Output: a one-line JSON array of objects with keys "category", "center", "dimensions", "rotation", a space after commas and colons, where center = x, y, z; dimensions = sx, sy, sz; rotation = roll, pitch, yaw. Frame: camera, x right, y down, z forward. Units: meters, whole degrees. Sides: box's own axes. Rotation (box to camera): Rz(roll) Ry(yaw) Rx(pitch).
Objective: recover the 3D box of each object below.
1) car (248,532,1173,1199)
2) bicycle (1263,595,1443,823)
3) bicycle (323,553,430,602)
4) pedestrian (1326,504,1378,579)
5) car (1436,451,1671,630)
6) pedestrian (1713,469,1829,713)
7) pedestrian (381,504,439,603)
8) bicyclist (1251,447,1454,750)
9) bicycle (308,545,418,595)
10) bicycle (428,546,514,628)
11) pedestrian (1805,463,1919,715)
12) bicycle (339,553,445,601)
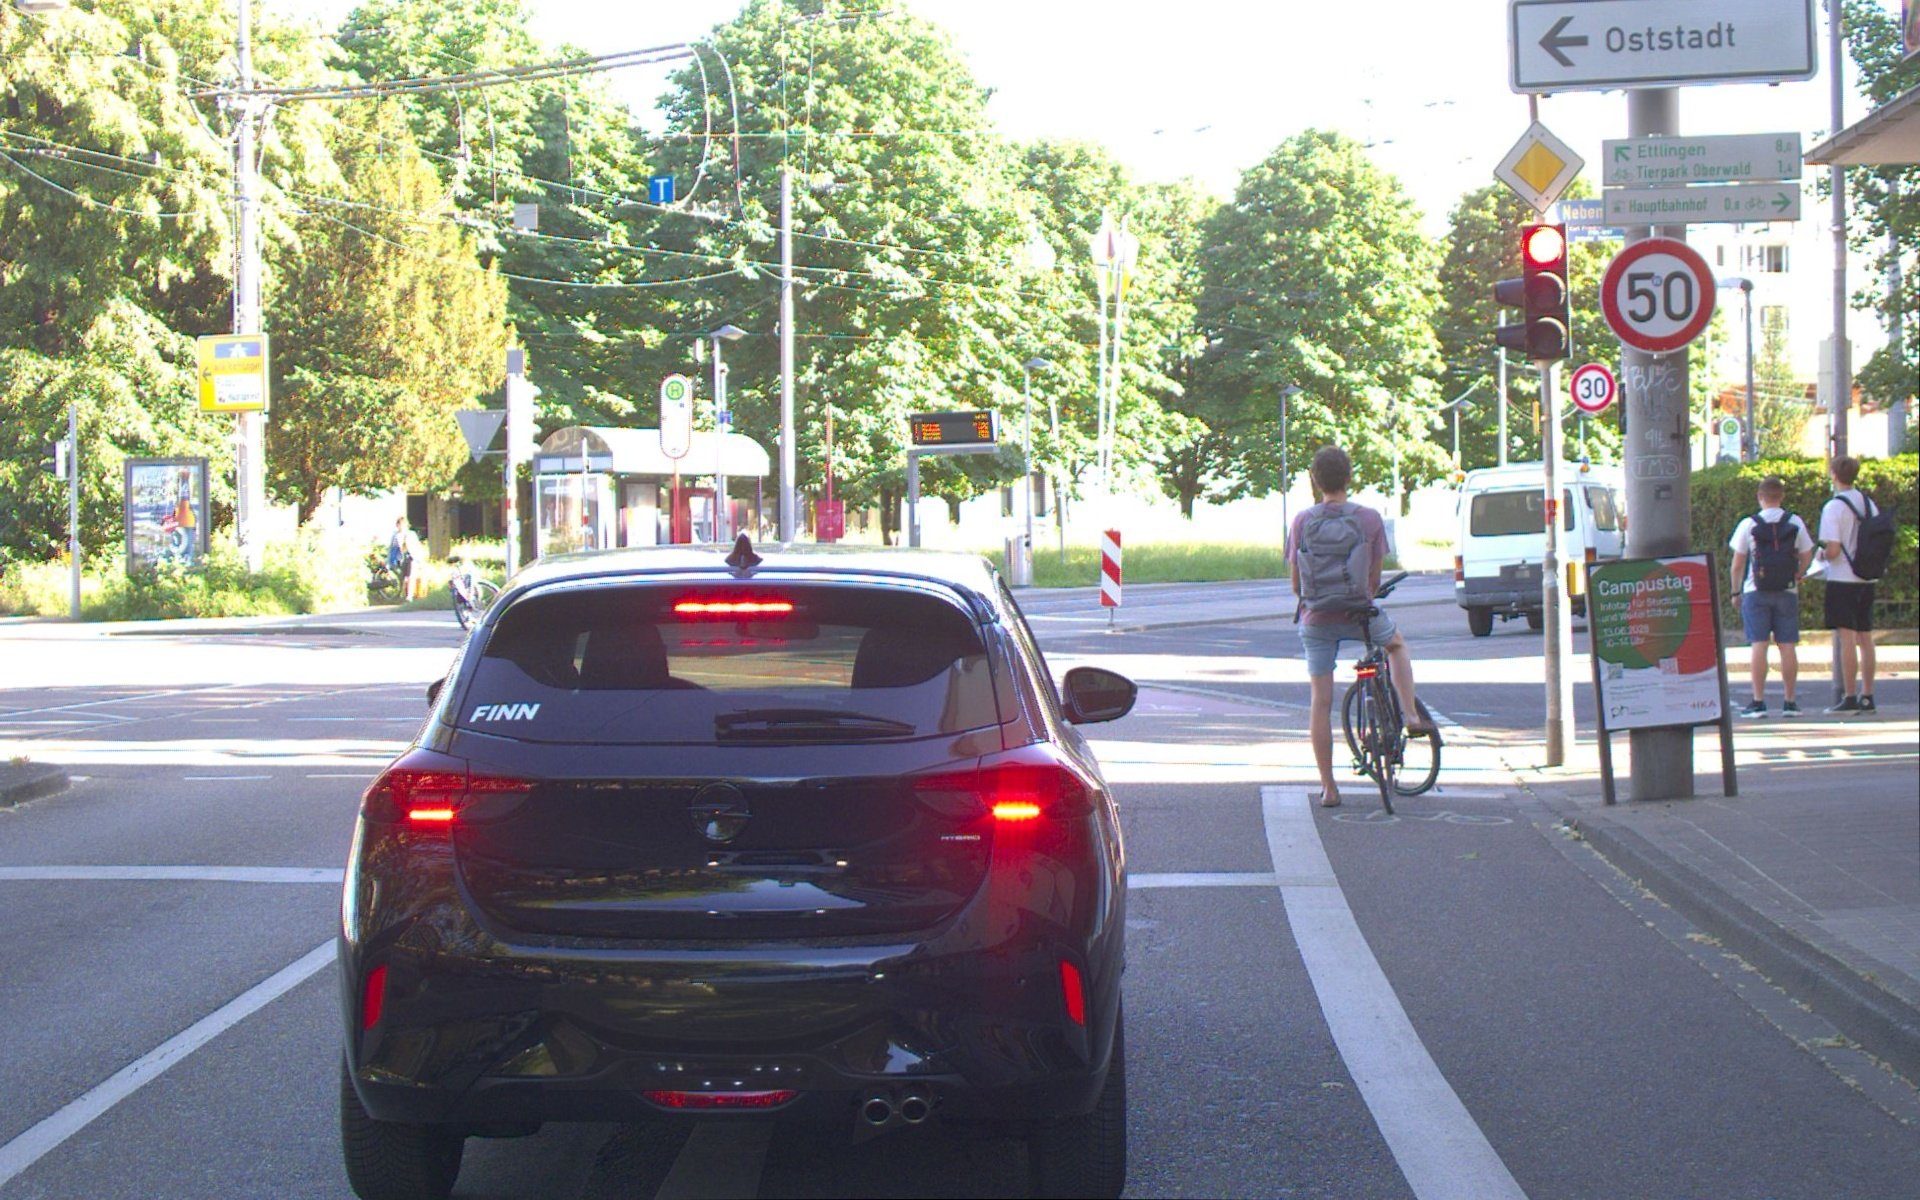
[{"category": "car", "center": [-0.456, 0.564, 8.702], "dimensions": [1.800, 1.436, 3.940], "rotation": [-1, 1, 1]}, {"category": "bicycle", "center": [2.011, 0.531, 17.828], "dimensions": [0.667, 1.056, 2.082], "rotation": [0, 1, -1]}, {"category": "bicycle", "center": [-10.995, -0.431, 64.815], "dimensions": [1.877, 0.903, 0.659], "rotation": [0, 1, 7]}, {"category": "pedestrian", "center": [9.369, -1.401, 82.229], "dimensions": [0.959, 1.786, 0.994], "rotation": [0, 1, 25]}, {"category": "car", "center": [7.994, -0.785, 46.015], "dimensions": [2.092, 2.270, 4.301], "rotation": [1, 1, 24]}, {"category": "pedestrian", "center": [6.010, -0.072, 25.504], "dimensions": [0.698, 1.786, 0.617], "rotation": [-1, 1, -1]}, {"category": "pedestrian", "center": [-9.421, -0.801, 58.930], "dimensions": [0.726, 1.687, 0.700], "rotation": [0, 1, 18]}, {"category": "bicyclist", "center": [2.014, -0.024, 17.809], "dimensions": [0.840, 1.504, 1.369], "rotation": [0, 1, -2]}, {"category": "bicycle", "center": [-11.081, -0.557, 63.827], "dimensions": [1.877, 0.903, 0.659], "rotation": [0, 1, 7]}, {"category": "bicycle", "center": [-6.615, -0.187, 46.624], "dimensions": [0.825, 1.056, 1.883], "rotation": [0, 1, 2]}, {"category": "pedestrian", "center": [6.767, -0.090, 25.560], "dimensions": [0.704, 1.840, 0.699], "rotation": [0, 2, 39]}, {"category": "bicycle", "center": [-10.856, -0.438, 65.686], "dimensions": [1.877, 0.903, 0.659], "rotation": [0, 1, 7]}]
